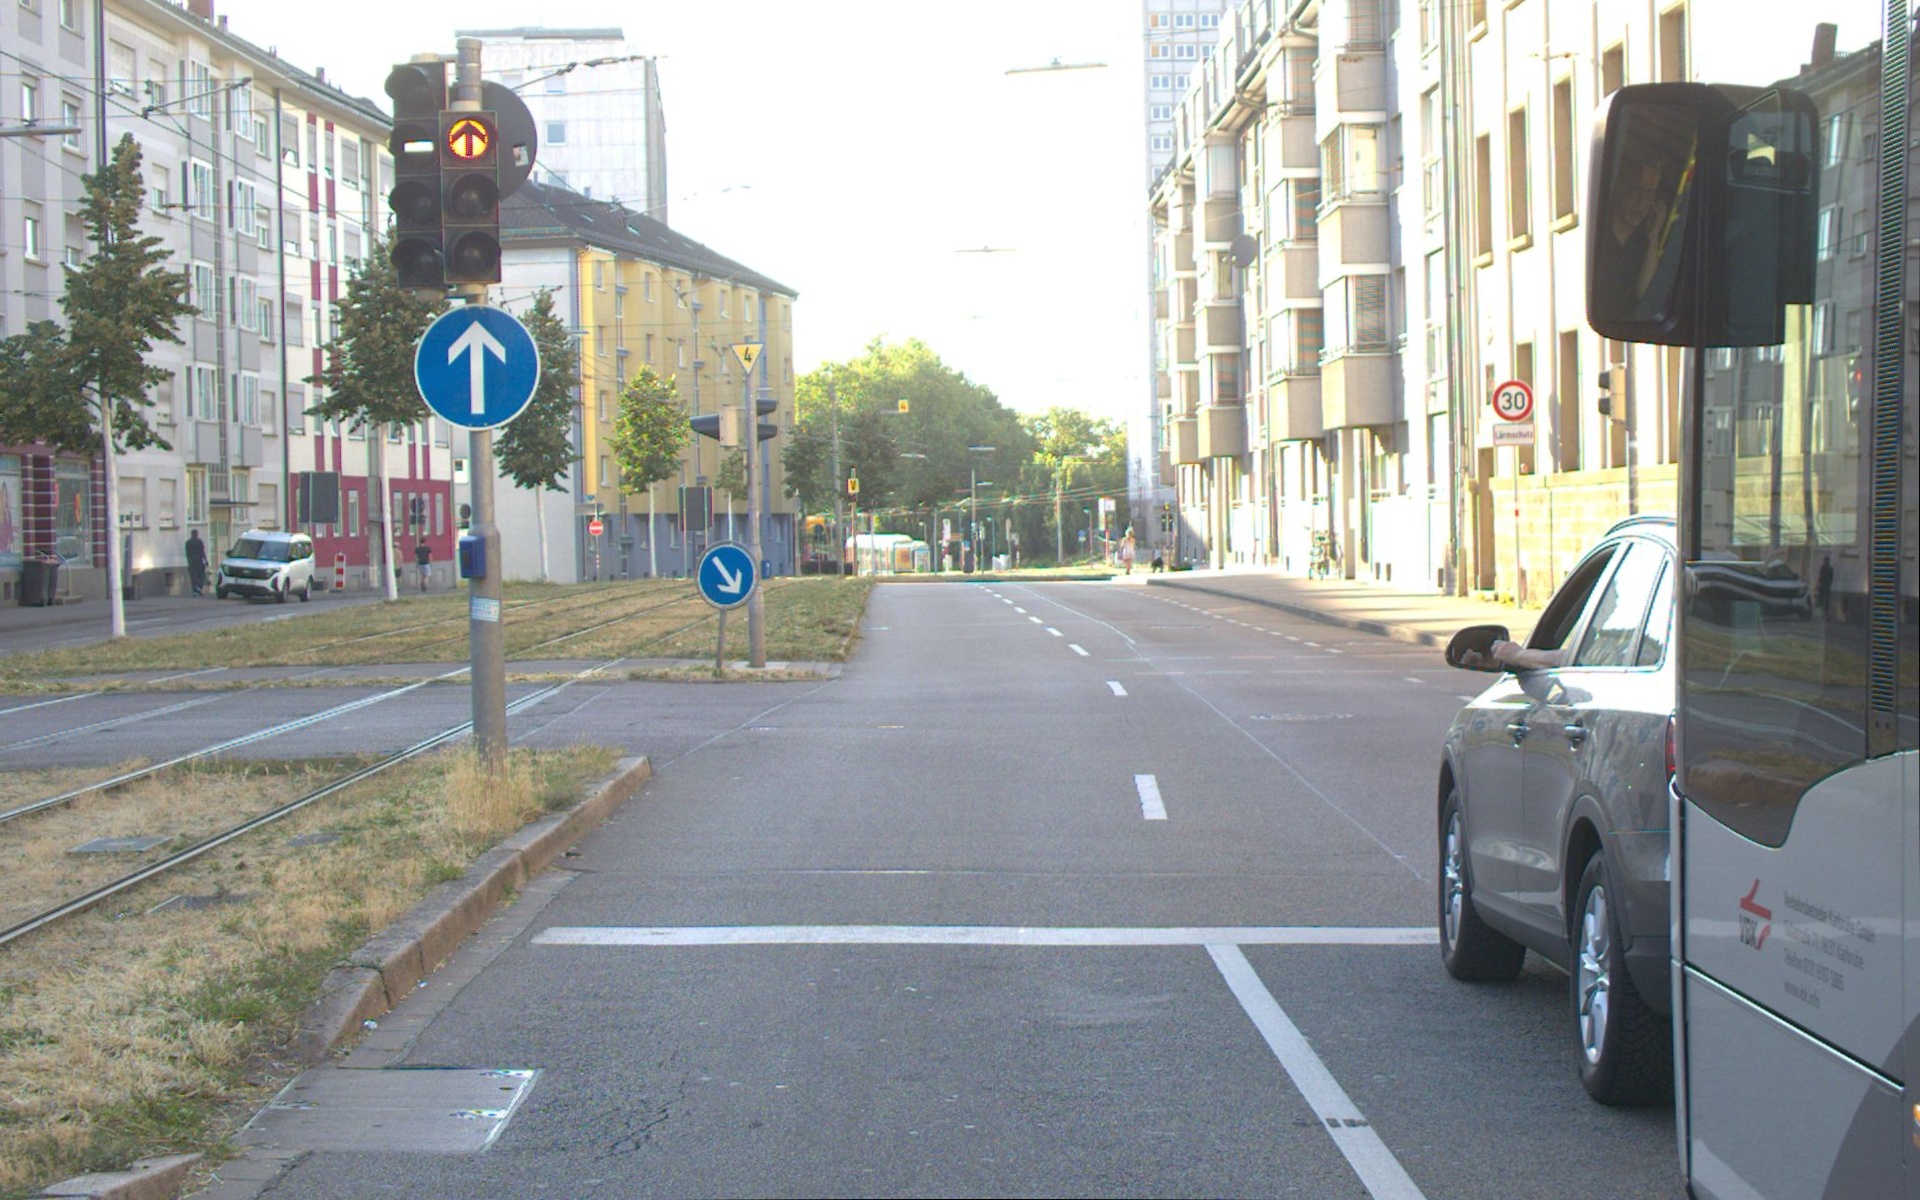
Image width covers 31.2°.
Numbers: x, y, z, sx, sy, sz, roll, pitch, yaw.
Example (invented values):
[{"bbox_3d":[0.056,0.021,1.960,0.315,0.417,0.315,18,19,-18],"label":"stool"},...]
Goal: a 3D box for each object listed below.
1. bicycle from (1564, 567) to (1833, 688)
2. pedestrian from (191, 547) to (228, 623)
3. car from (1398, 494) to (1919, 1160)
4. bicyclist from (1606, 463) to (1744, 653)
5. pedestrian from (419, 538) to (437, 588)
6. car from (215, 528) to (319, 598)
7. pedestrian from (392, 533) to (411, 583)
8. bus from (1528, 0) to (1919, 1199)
[{"bbox_3d":[6.056,0.219,28.237,1.978,0.891,0.786,-2,1,-10],"label":"bicycle"},{"bbox_3d":[-20.027,-0.400,91.724,0.786,2.007,0.891,-1,1,-4],"label":"pedestrian"},{"bbox_3d":[2.489,0.482,10.237,1.770,1.570,4.086,-2,1,0],"label":"car"},{"bbox_3d":[5.861,-0.346,28.206,0.903,1.521,0.648,-2,1,-10],"label":"bicyclist"},{"bbox_3d":[-17.671,-1.225,114.251,0.495,1.652,0.408,-2,1,0],"label":"pedestrian"},{"bbox_3d":[-18.177,-0.977,90.375,1.812,1.791,4.245,0,1,1],"label":"car"},{"bbox_3d":[-18.526,-1.387,114.016,0.495,1.652,0.408,-2,1,0],"label":"pedestrian"},{"bbox_3d":[2.550,-0.056,2.219,2.738,3.045,9.132,0,1,-1],"label":"bus"}]
